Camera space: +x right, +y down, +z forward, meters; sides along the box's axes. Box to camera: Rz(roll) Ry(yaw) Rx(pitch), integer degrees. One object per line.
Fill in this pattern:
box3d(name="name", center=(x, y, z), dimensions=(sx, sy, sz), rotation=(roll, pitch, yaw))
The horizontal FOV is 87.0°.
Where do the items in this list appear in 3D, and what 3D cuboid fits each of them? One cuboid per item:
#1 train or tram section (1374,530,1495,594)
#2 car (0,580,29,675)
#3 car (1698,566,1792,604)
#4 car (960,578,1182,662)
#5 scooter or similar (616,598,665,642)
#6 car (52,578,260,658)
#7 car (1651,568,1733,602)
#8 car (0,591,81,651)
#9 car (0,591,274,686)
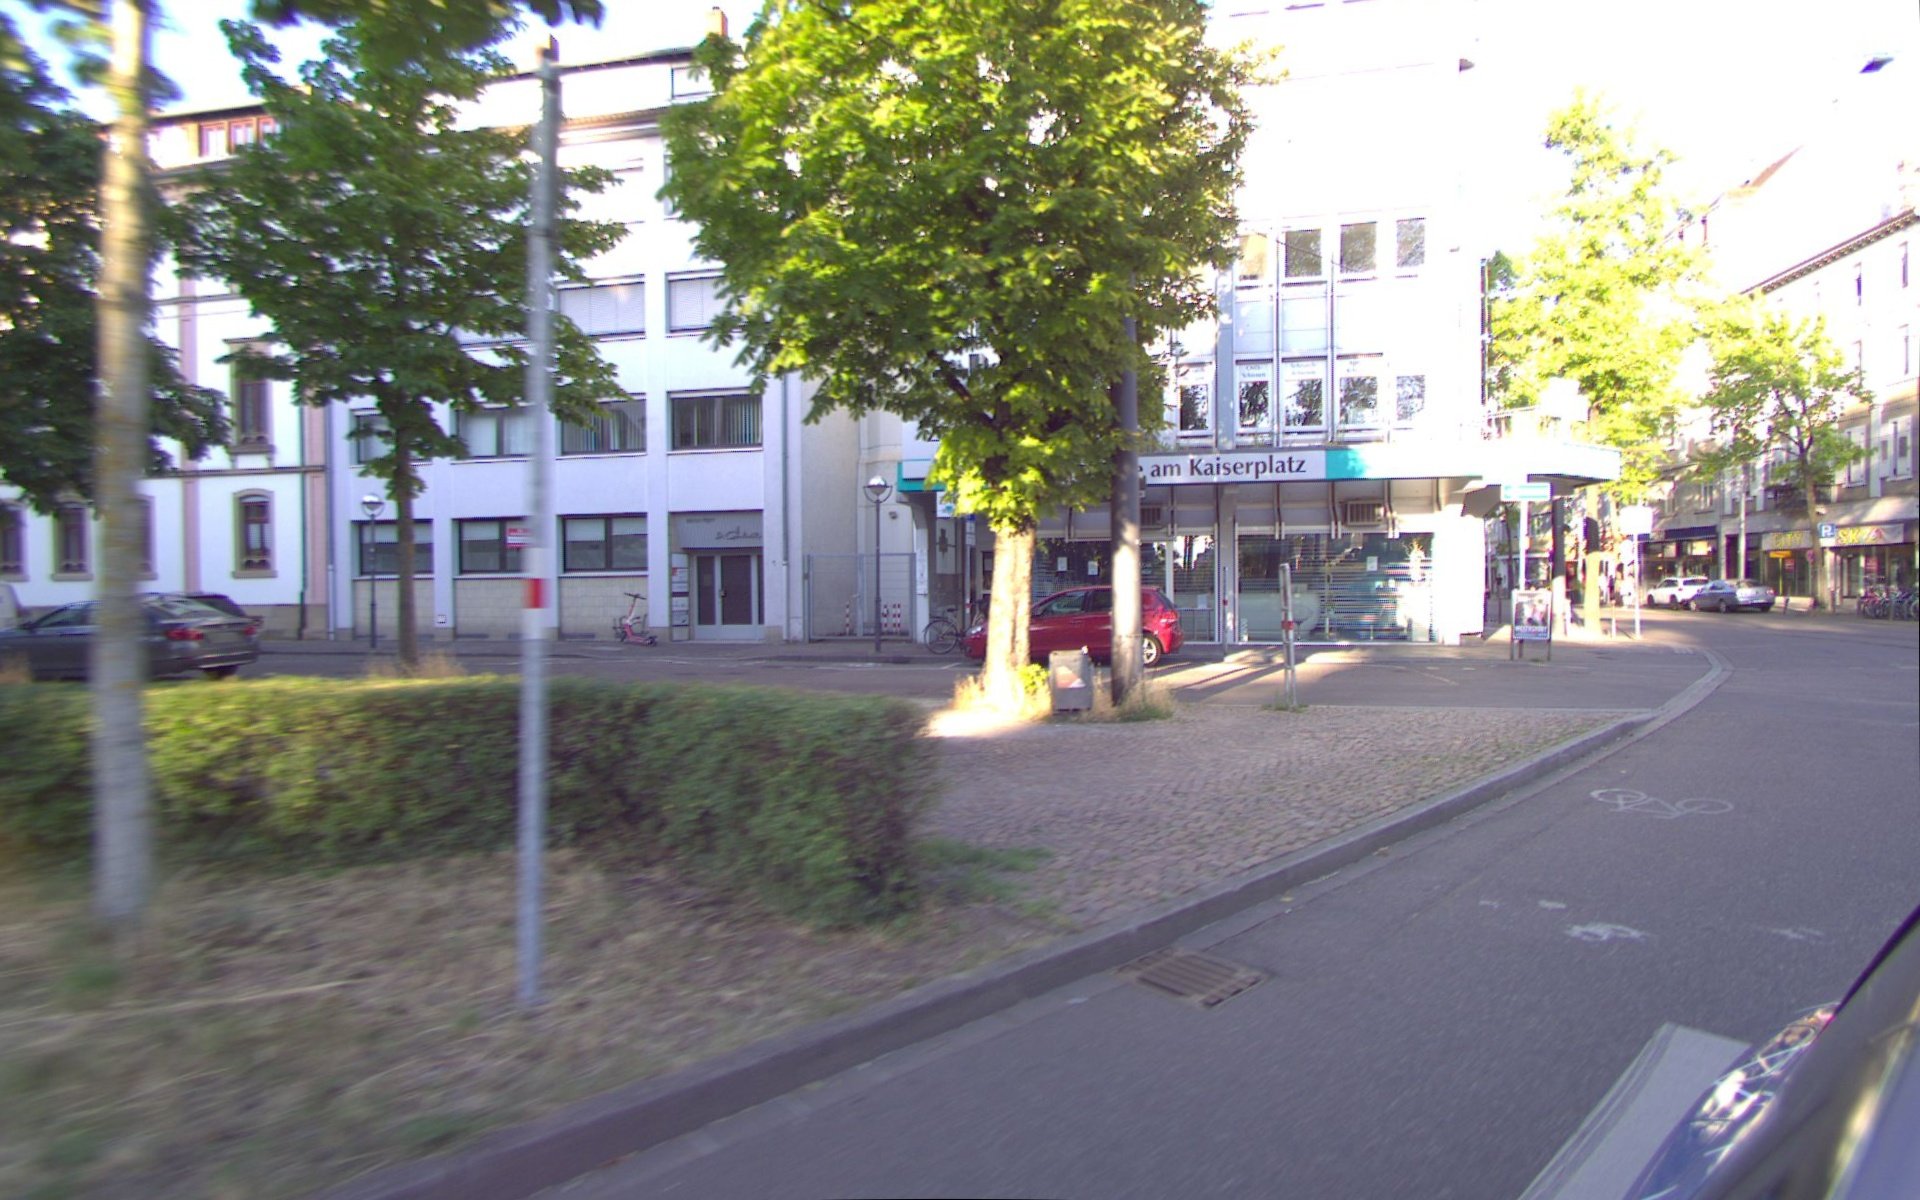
box3d(name="train or tram section", center=(29.812, -2.400, 64.444), dimensions=(2.900, 3.628, 13.345), rotation=(-1, 2, 7))
box3d(name="car", center=(-19.631, 0.514, 18.607), dimensions=(3.949, 1.746, 1.696), rotation=(0, 0, 10))
box3d(name="car", center=(34.647, -0.653, 44.799), dimensions=(1.697, 1.571, 3.954), rotation=(0, 0, 11))
box3d(name="car", center=(2.093, 0.356, 18.961), dimensions=(3.935, 1.468, 1.843), rotation=(-1, 0, 10))
box3d(name="scooter or similar", center=(-7.717, 0.477, 24.441), dimensions=(1.173, 1.045, 0.483), rotation=(0, 0, 32))
box3d(name="car", center=(-18.647, 0.394, 23.526), dimensions=(3.951, 1.746, 1.695), rotation=(0, 0, 12))
box3d(name="car", center=(36.027, -0.721, 49.904), dimensions=(1.775, 1.571, 3.954), rotation=(0, 0, 11))
box3d(name="car", center=(-24.775, 0.510, 25.836), dimensions=(3.619, 1.468, 1.695), rotation=(0, 0, 12))
box3d(name="car", center=(-14.406, 0.615, 17.412), dimensions=(4.253, 1.427, 1.802), rotation=(0, 3, 10))
